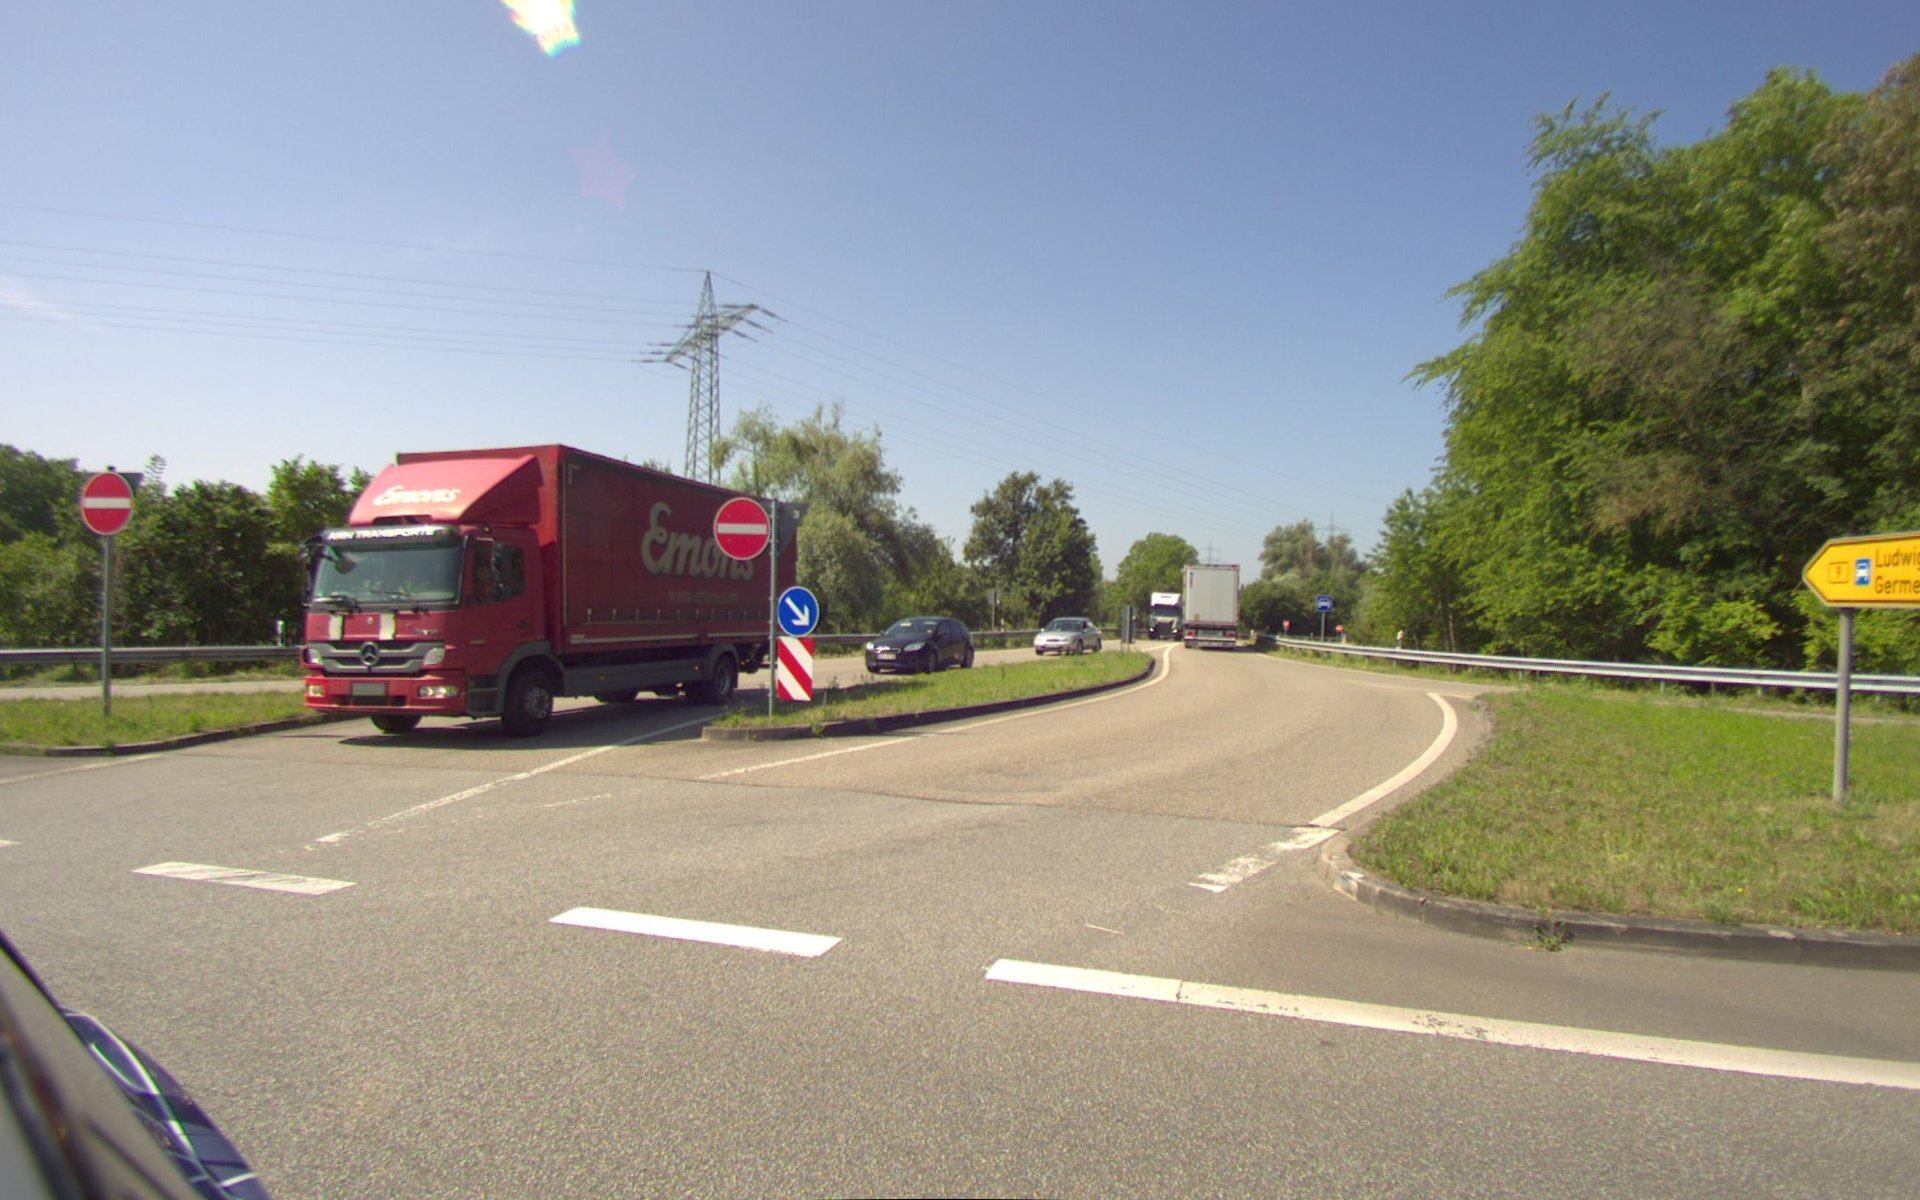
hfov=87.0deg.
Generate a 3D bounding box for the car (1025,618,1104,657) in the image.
[{"bbox_3d":[4.047,1.380,38.508,1.778,1.396,4.343,0,-1,24],"label":"car"}]

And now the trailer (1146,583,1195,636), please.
[{"bbox_3d":[19.275,0.948,91.901,2.906,4.272,13.900,2,-1,17],"label":"trailer"}]

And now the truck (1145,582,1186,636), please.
[{"bbox_3d":[17.489,0.784,85.903,2.914,4.270,5.703,2,-1,16],"label":"truck"}]

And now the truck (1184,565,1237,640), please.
[{"bbox_3d":[14.833,0.156,60.027,2.852,4.205,5.945,-1,0,13],"label":"truck"}]

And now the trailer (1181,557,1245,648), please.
[{"bbox_3d":[13.310,0.130,53.648,2.868,4.197,13.919,0,0,13],"label":"trailer"}]

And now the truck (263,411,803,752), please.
[{"bbox_3d":[-5.547,-0.111,15.760,2.666,3.689,9.216,0,-1,15],"label":"truck"}]

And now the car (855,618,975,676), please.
[{"bbox_3d":[-1.106,1.188,26.851,1.776,1.425,3.972,0,-1,21],"label":"car"}]
